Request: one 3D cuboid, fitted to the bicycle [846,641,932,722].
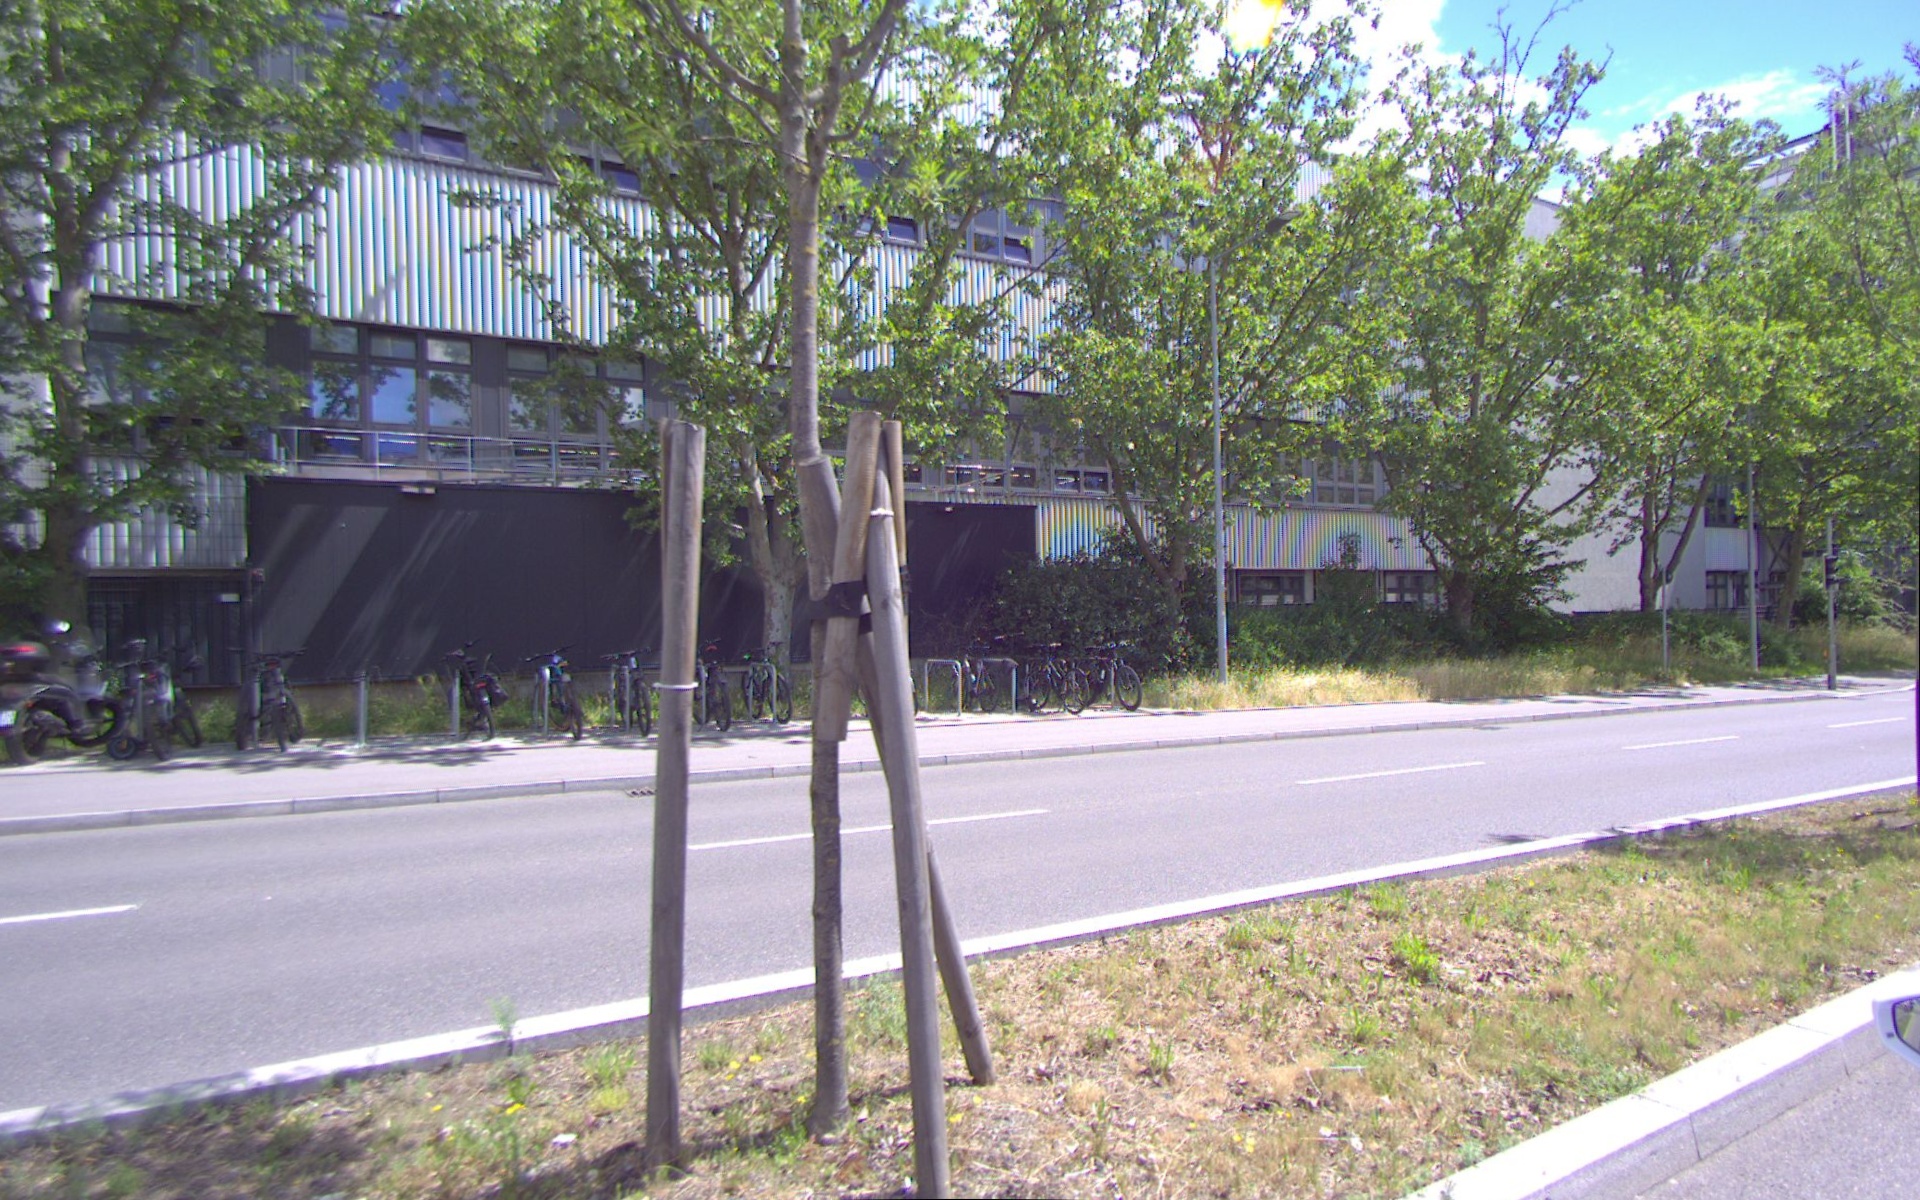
[{"bbox_3d":[-1.149,1.210,15.562,0.685,1.110,2.562,1,-2,-19],"label":"bicycle"}]

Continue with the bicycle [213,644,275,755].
[{"bbox_3d":[-8.136,1.088,11.453,0.417,1.089,1.914,1,0,-31],"label":"bicycle"}]

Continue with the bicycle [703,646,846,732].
[{"bbox_3d":[-2.758,1.234,14.631,0.843,1.020,2.813,1,0,-38],"label":"bicycle"}]

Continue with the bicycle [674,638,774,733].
[{"bbox_3d":[-3.278,1.126,13.824,0.797,1.137,1.908,1,0,-31],"label":"bicycle"}]

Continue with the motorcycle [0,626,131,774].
[{"bbox_3d":[-9.255,0.957,10.326,0.797,1.326,2.123,1,0,-31],"label":"motorcycle"}]

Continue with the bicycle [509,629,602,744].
[{"bbox_3d":[-5.152,1.040,12.733,0.797,1.299,1.908,1,0,-31],"label":"bicycle"}]

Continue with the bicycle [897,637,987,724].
[{"bbox_3d":[-0.337,1.206,15.812,0.634,1.173,2.562,1,0,-19],"label":"bicycle"}]

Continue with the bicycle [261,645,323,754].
[{"bbox_3d":[-7.710,1.095,11.642,0.491,1.076,2.070,1,0,-31],"label":"bicycle"}]

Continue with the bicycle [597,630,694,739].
[{"bbox_3d":[-4.212,1.067,13.358,0.797,1.299,1.908,1,-1,-31],"label":"bicycle"}]

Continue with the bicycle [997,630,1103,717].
[{"bbox_3d":[1.441,1.161,16.627,0.549,1.274,2.395,1,0,-27],"label":"bicycle"}]

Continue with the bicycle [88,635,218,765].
[{"bbox_3d":[-8.642,1.011,10.846,0.797,1.196,2.123,1,0,-31],"label":"bicycle"}]

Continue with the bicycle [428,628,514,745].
[{"bbox_3d":[-6.237,1.031,12.752,0.797,1.299,2.123,1,0,-31],"label":"bicycle"}]

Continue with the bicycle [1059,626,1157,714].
[{"bbox_3d":[2.495,1.151,17.192,0.483,1.382,2.158,1,0,-27],"label":"bicycle"}]

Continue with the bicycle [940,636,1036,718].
[{"bbox_3d":[0.412,1.221,16.671,0.714,1.173,2.562,1,0,-19],"label":"bicycle"}]
